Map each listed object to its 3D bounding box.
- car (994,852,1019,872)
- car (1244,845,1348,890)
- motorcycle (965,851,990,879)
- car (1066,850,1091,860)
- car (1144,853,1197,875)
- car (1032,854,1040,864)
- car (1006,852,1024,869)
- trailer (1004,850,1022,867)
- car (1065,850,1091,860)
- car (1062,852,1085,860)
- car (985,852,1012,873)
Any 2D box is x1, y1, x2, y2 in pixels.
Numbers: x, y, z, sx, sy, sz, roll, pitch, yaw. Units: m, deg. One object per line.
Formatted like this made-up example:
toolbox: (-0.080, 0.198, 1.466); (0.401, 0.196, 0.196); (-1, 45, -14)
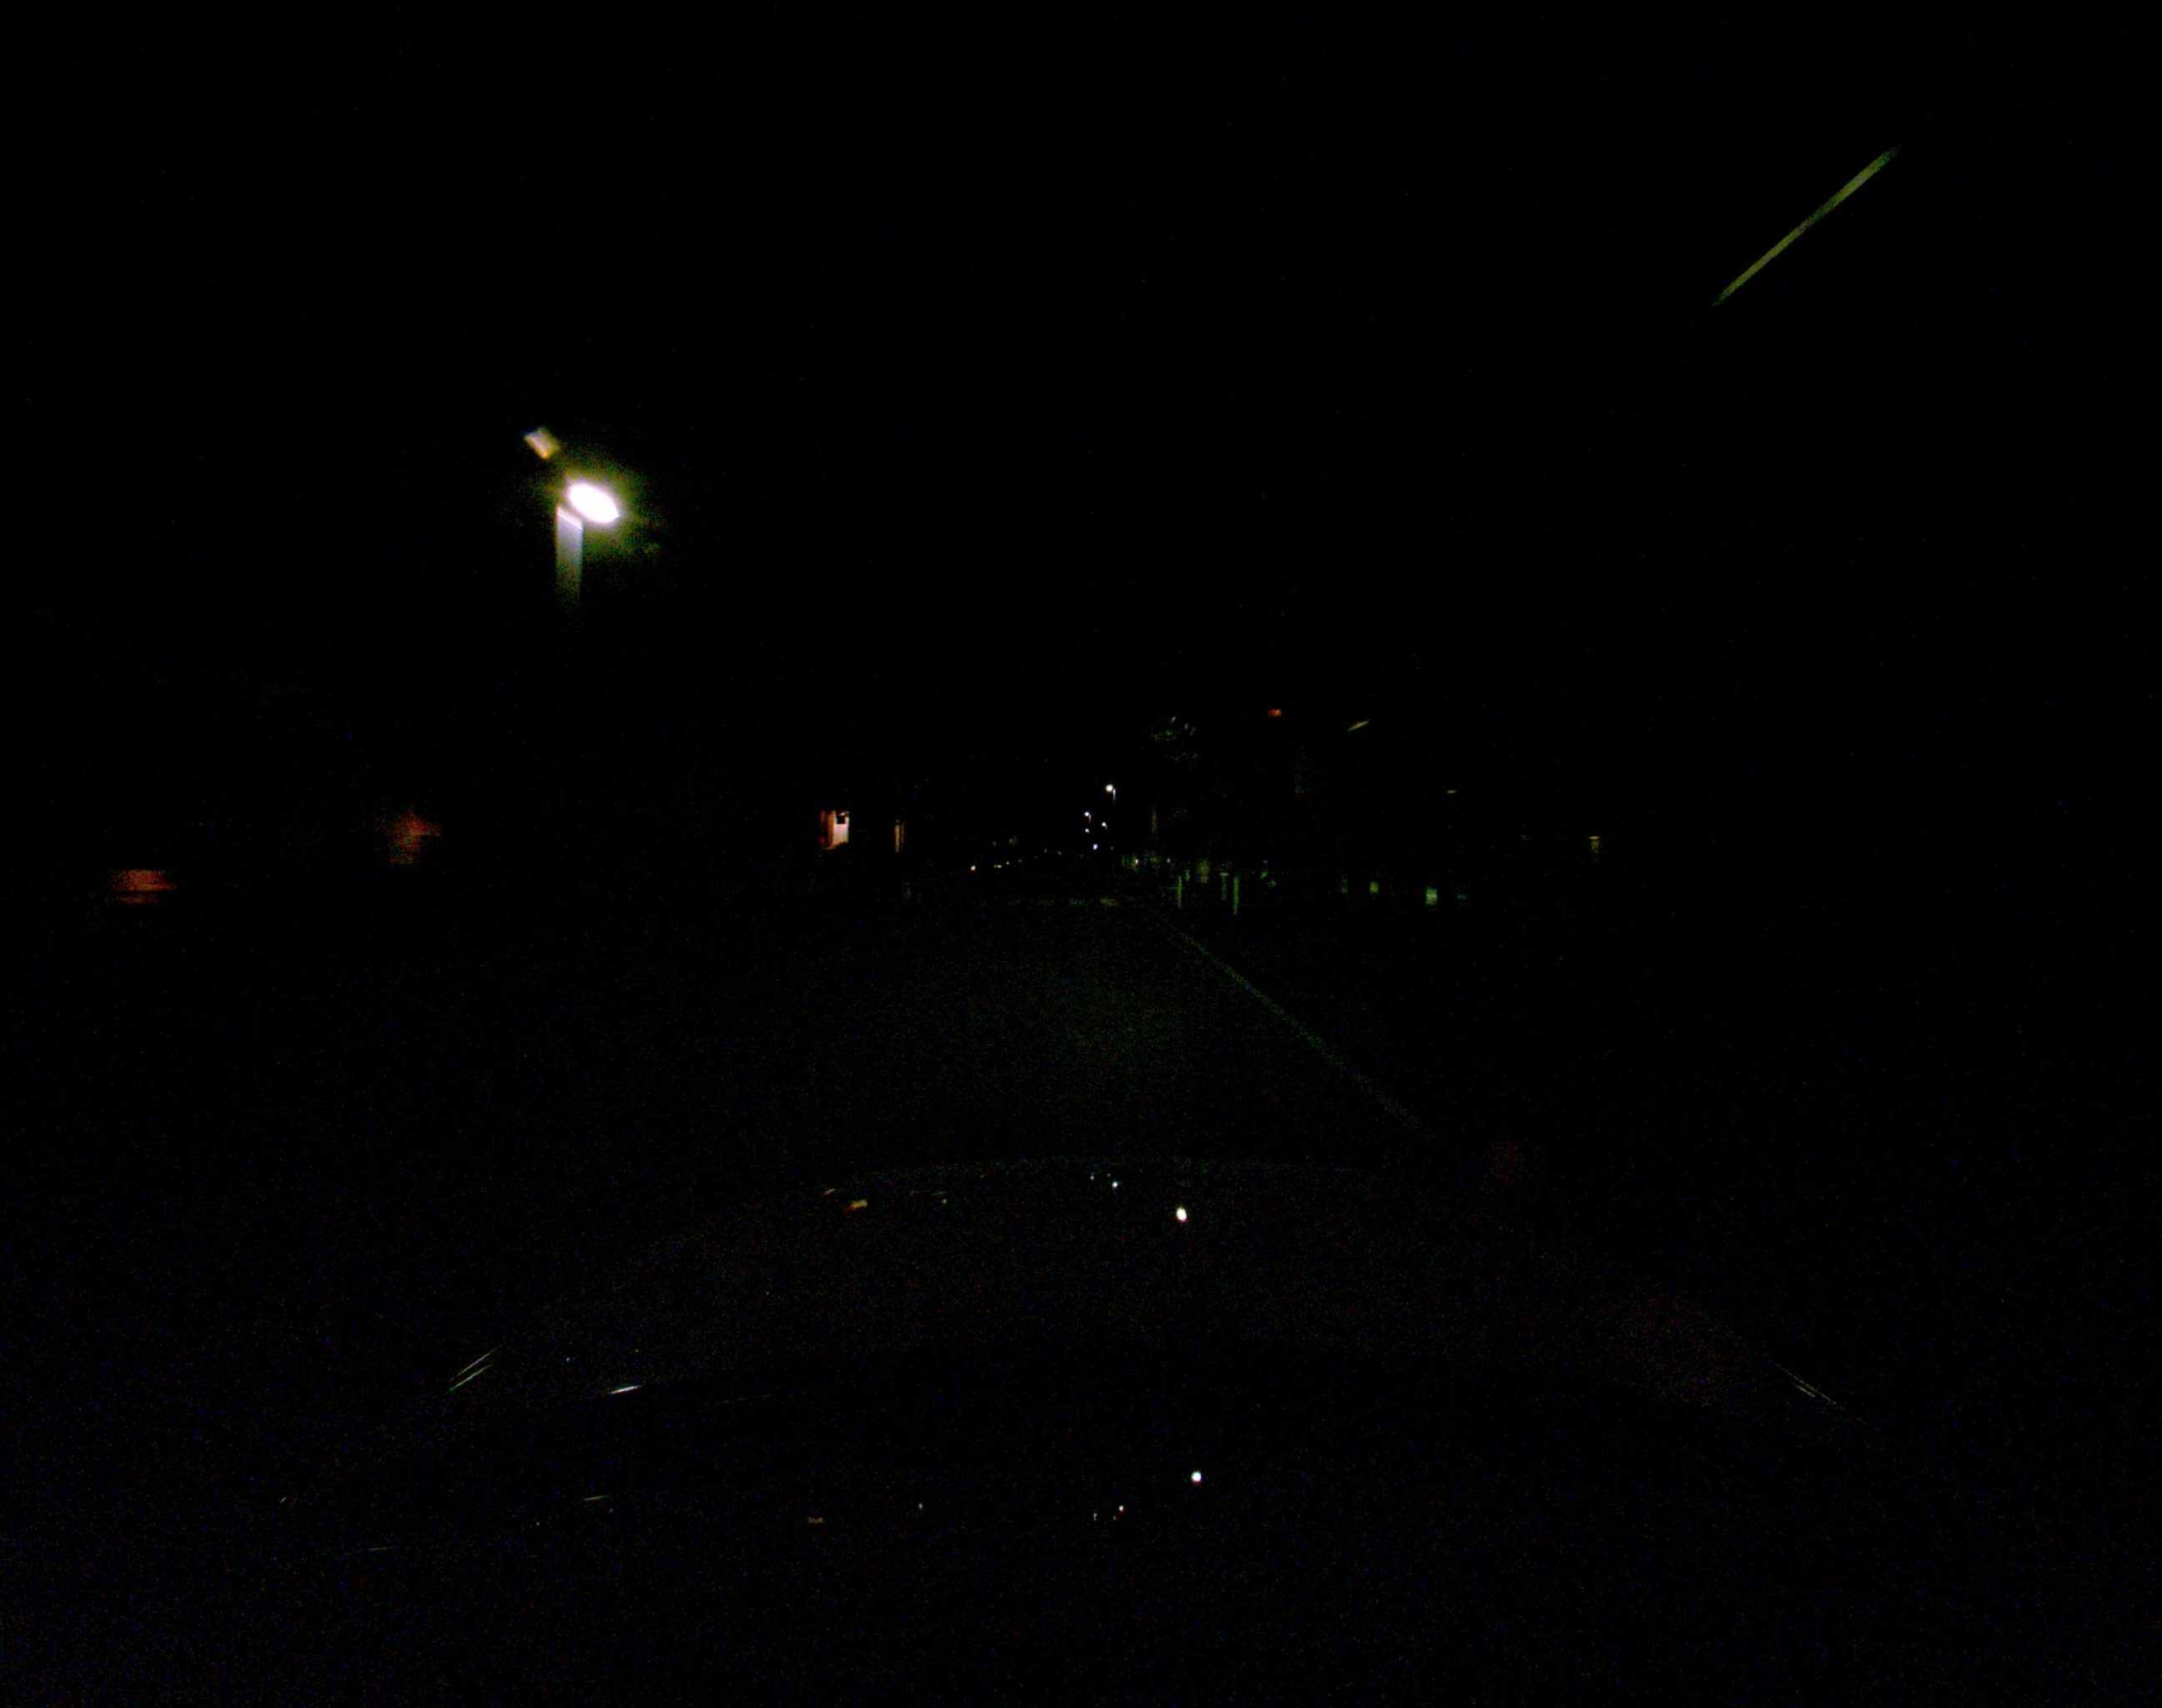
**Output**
car: (-6.057, 0.626, 66.964); (1.762, 1.519, 4.275); (2, 0, -2)
car: (8.280, 0.507, 31.574); (3.498, 1.525, 1.819); (-2, 0, -3)
motorcycle: (-5.420, 0.571, 42.802); (0.742, 1.452, 2.199); (1, 0, 6)
car: (-0.541, 0.250, 170.593); (5.172, 2.013, 2.099); (-1, 0, -4)
car: (6.447, 0.702, 58.956); (3.699, 1.473, 1.730); (1, -1, 0)
car: (-10.632, 1.209, 190.834); (1.821, 1.987, 4.459); (3, -2, -4)
car: (-6.556, 0.658, 80.965); (1.668, 1.522, 2.975); (3, 0, -4)
trailer: (-7.044, 0.474, 84.174); (1.443, 1.688, 3.426); (3, 0, 0)
car: (-0.696, 0.242, 167.520); (5.172, 2.013, 2.099); (-1, 0, -4)
car: (-1.724, 0.382, 192.247); (5.155, 1.887, 2.106); (-1, 0, 7)
car: (-6.187, 0.613, 61.711); (1.683, 1.510, 4.276); (1, 0, -2)
